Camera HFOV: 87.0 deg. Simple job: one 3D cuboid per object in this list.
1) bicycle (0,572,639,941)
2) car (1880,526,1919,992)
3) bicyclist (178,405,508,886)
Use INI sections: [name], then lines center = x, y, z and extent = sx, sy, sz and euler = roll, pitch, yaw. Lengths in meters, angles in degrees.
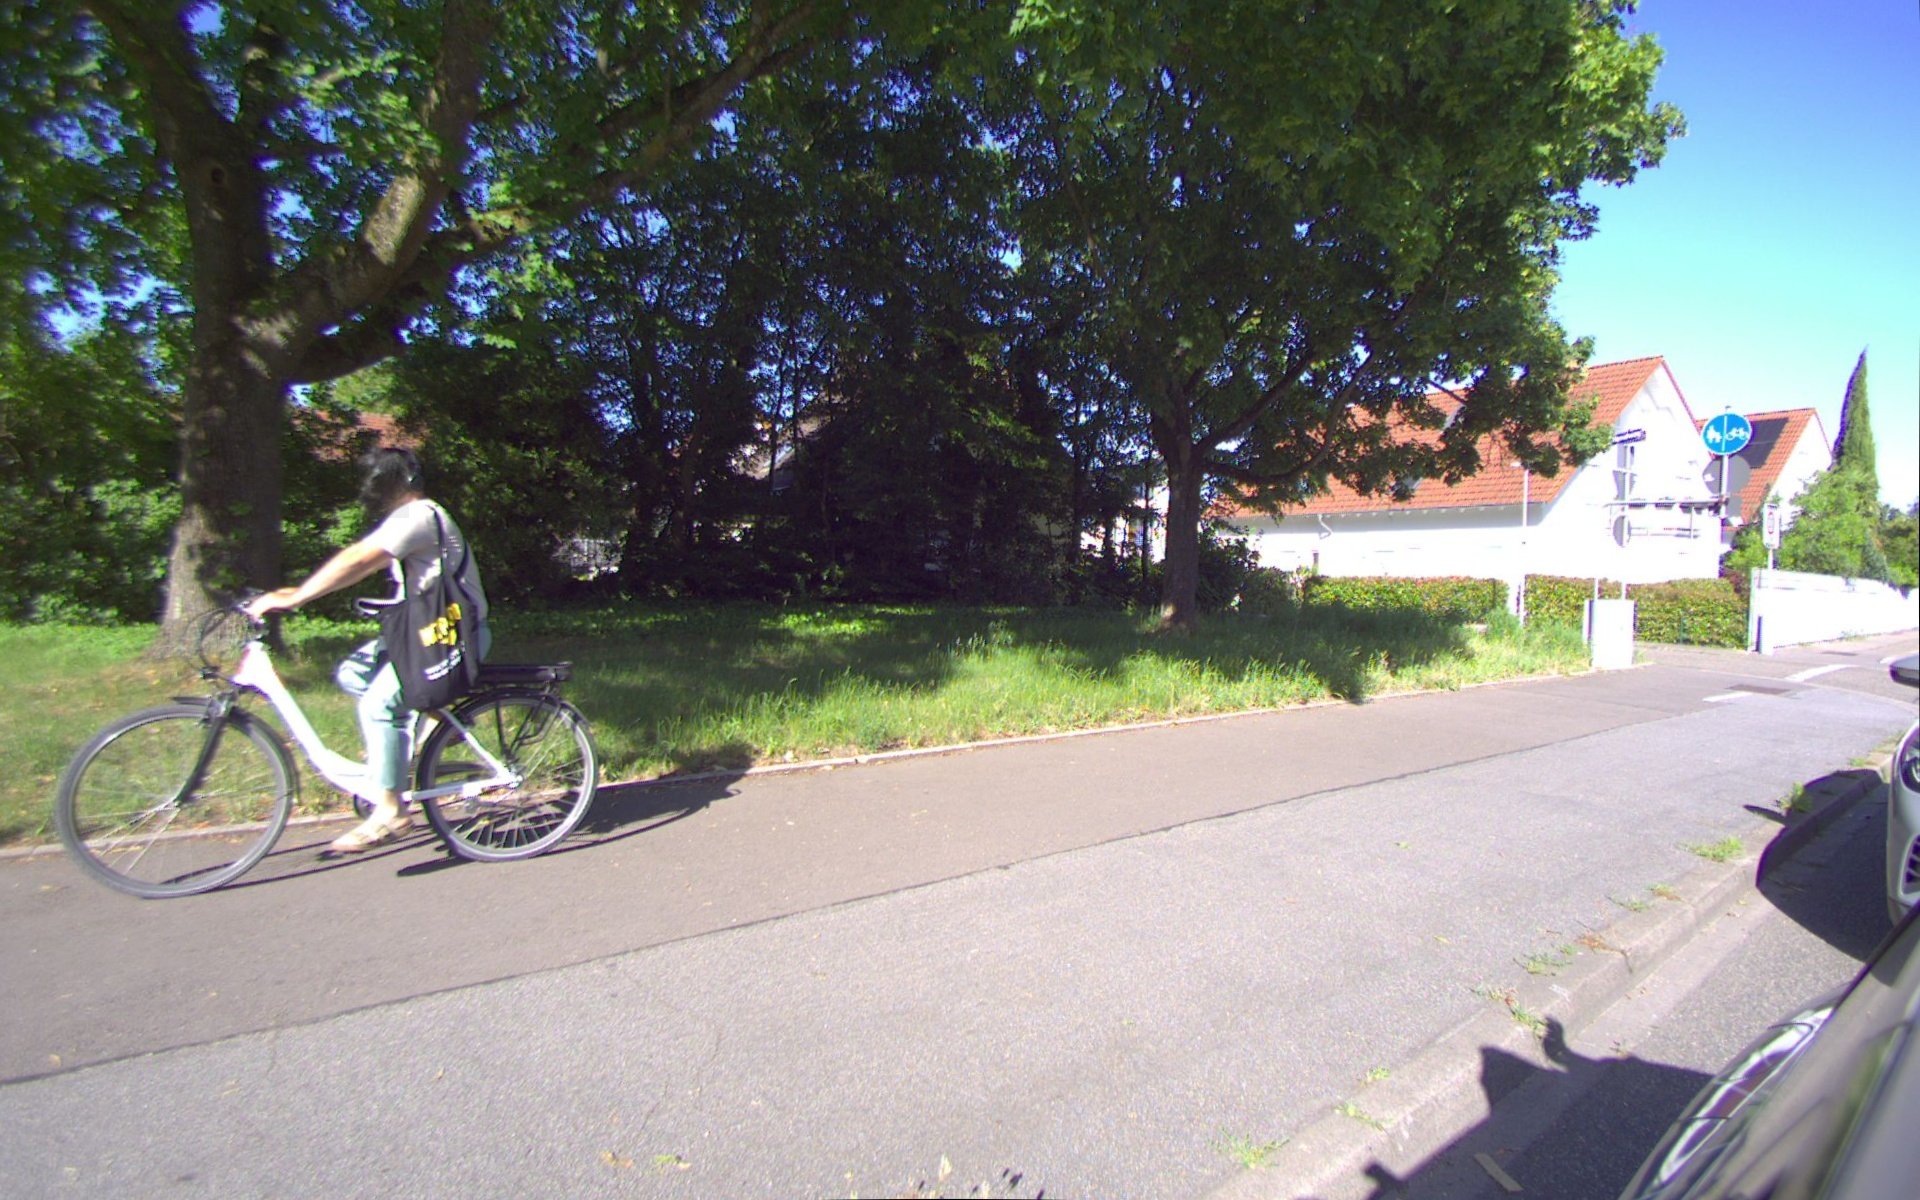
[bicycle]
center = -2.290, 0.468, 3.869
extent = 1.948, 1.110, 0.581
euler = -1, 4, -30
[car]
center = 5.634, 0.607, 4.428
extent = 4.133, 1.710, 1.857
euler = 0, 3, -41
[bicyclist]
center = -2.290, 0.131, 3.851
extent = 0.977, 1.600, 0.581
euler = -1, 4, -30
